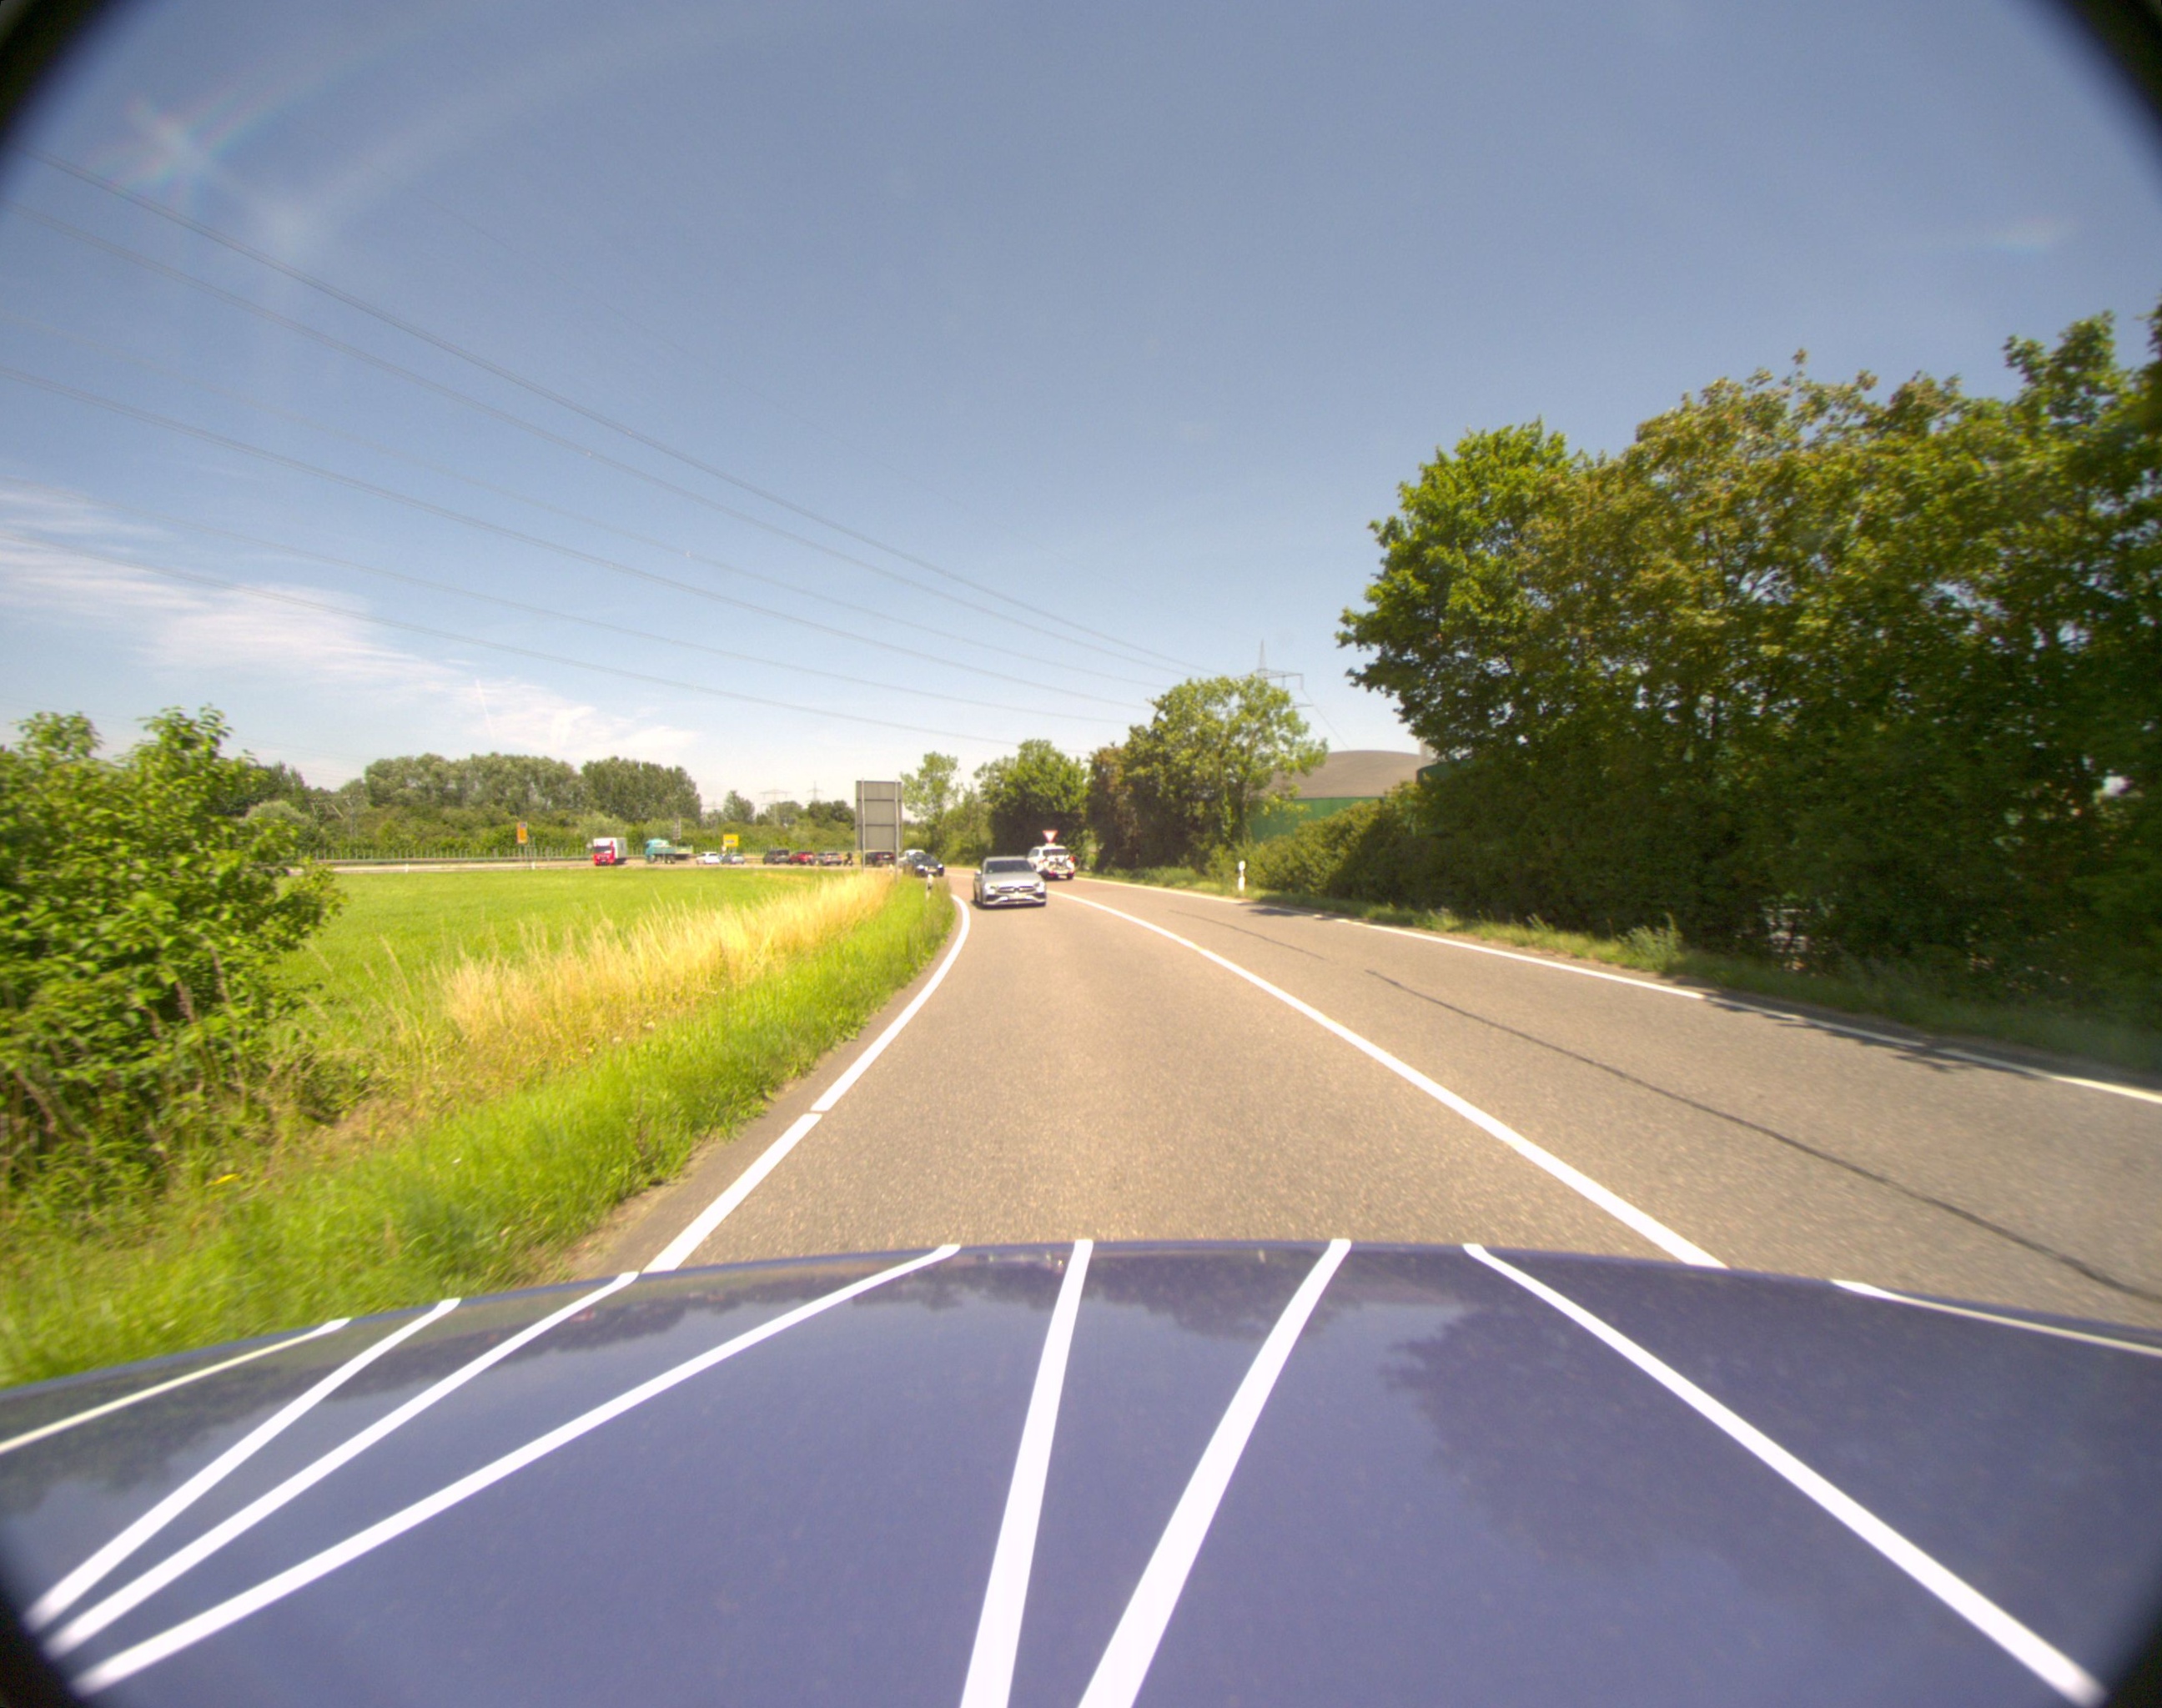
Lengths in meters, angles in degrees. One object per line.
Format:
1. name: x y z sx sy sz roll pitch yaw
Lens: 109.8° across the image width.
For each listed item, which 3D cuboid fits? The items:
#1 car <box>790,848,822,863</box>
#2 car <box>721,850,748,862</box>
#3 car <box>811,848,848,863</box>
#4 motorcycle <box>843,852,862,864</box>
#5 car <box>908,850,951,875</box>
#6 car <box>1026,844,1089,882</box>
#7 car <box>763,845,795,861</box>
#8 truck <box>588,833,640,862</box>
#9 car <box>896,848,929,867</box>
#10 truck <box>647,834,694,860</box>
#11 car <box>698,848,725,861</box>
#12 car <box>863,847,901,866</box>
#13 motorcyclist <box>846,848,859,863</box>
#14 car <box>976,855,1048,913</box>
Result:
1. car: -30.453 0.162 84.183 1.808 1.507 4.378 -1 2 -42
2. car: -43.921 0.267 96.242 3.996 1.451 1.640 0 1 43
3. car: -26.350 0.144 79.449 1.850 1.452 4.794 -3 3 -42
4. motorcycle: -22.830 0.357 75.883 0.785 1.117 2.422 -4 4 -42
5. car: -9.416 0.481 46.971 1.827 1.431 4.140 -1 1 -22
6. car: -1.209 0.379 36.206 1.862 1.592 4.771 -3 1 -15
7. car: -35.417 -0.119 89.068 1.936 1.822 4.425 -3 3 -44
8. truck: -62.472 -0.946 101.985 2.726 3.560 9.541 -2 3 -12
9. car: -14.238 0.249 64.006 1.543 1.435 3.598 -5 4 -32
10. truck: -57.142 -0.920 105.627 7.587 3.452 2.615 0 1 36
11. car: -49.133 0.067 101.010 4.318 1.612 1.781 0 3 43
12. car: -18.345 0.249 69.974 1.710 1.629 4.237 -4 3 -39
13. motorcyclist: -22.857 0.129 75.911 0.785 1.487 1.127 -3 3 -42
14. car: -2.157 0.834 22.775 1.825 1.478 4.145 -2 0 -9
